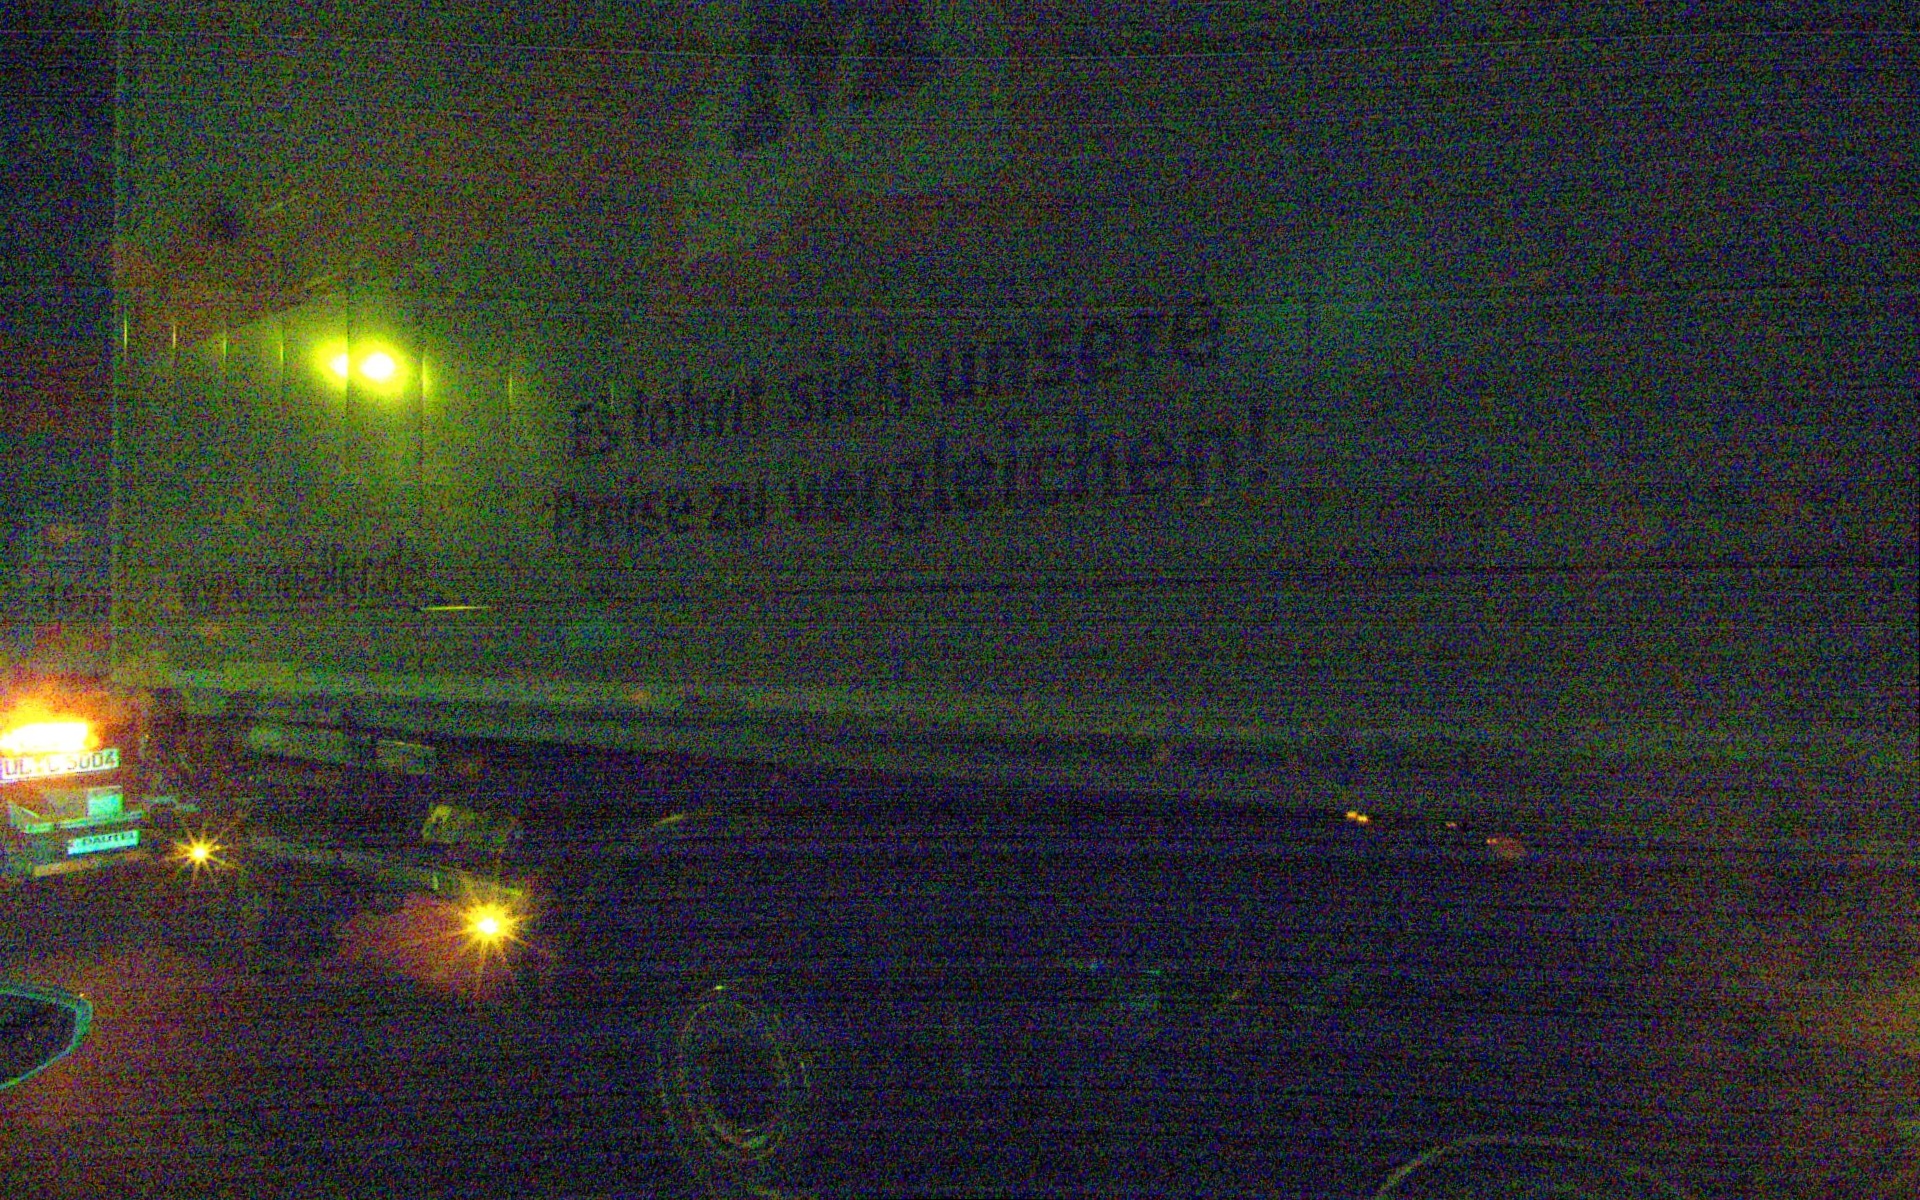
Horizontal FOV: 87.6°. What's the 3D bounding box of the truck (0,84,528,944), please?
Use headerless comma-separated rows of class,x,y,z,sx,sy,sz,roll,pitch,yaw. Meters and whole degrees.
truck,-7.869,-0.304,8.340,9.768,3.964,2.883,-1,-1,33

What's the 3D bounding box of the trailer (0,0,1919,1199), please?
trailer,-0.050,-0.418,3.331,8.820,3.908,2.870,-1,-1,33
